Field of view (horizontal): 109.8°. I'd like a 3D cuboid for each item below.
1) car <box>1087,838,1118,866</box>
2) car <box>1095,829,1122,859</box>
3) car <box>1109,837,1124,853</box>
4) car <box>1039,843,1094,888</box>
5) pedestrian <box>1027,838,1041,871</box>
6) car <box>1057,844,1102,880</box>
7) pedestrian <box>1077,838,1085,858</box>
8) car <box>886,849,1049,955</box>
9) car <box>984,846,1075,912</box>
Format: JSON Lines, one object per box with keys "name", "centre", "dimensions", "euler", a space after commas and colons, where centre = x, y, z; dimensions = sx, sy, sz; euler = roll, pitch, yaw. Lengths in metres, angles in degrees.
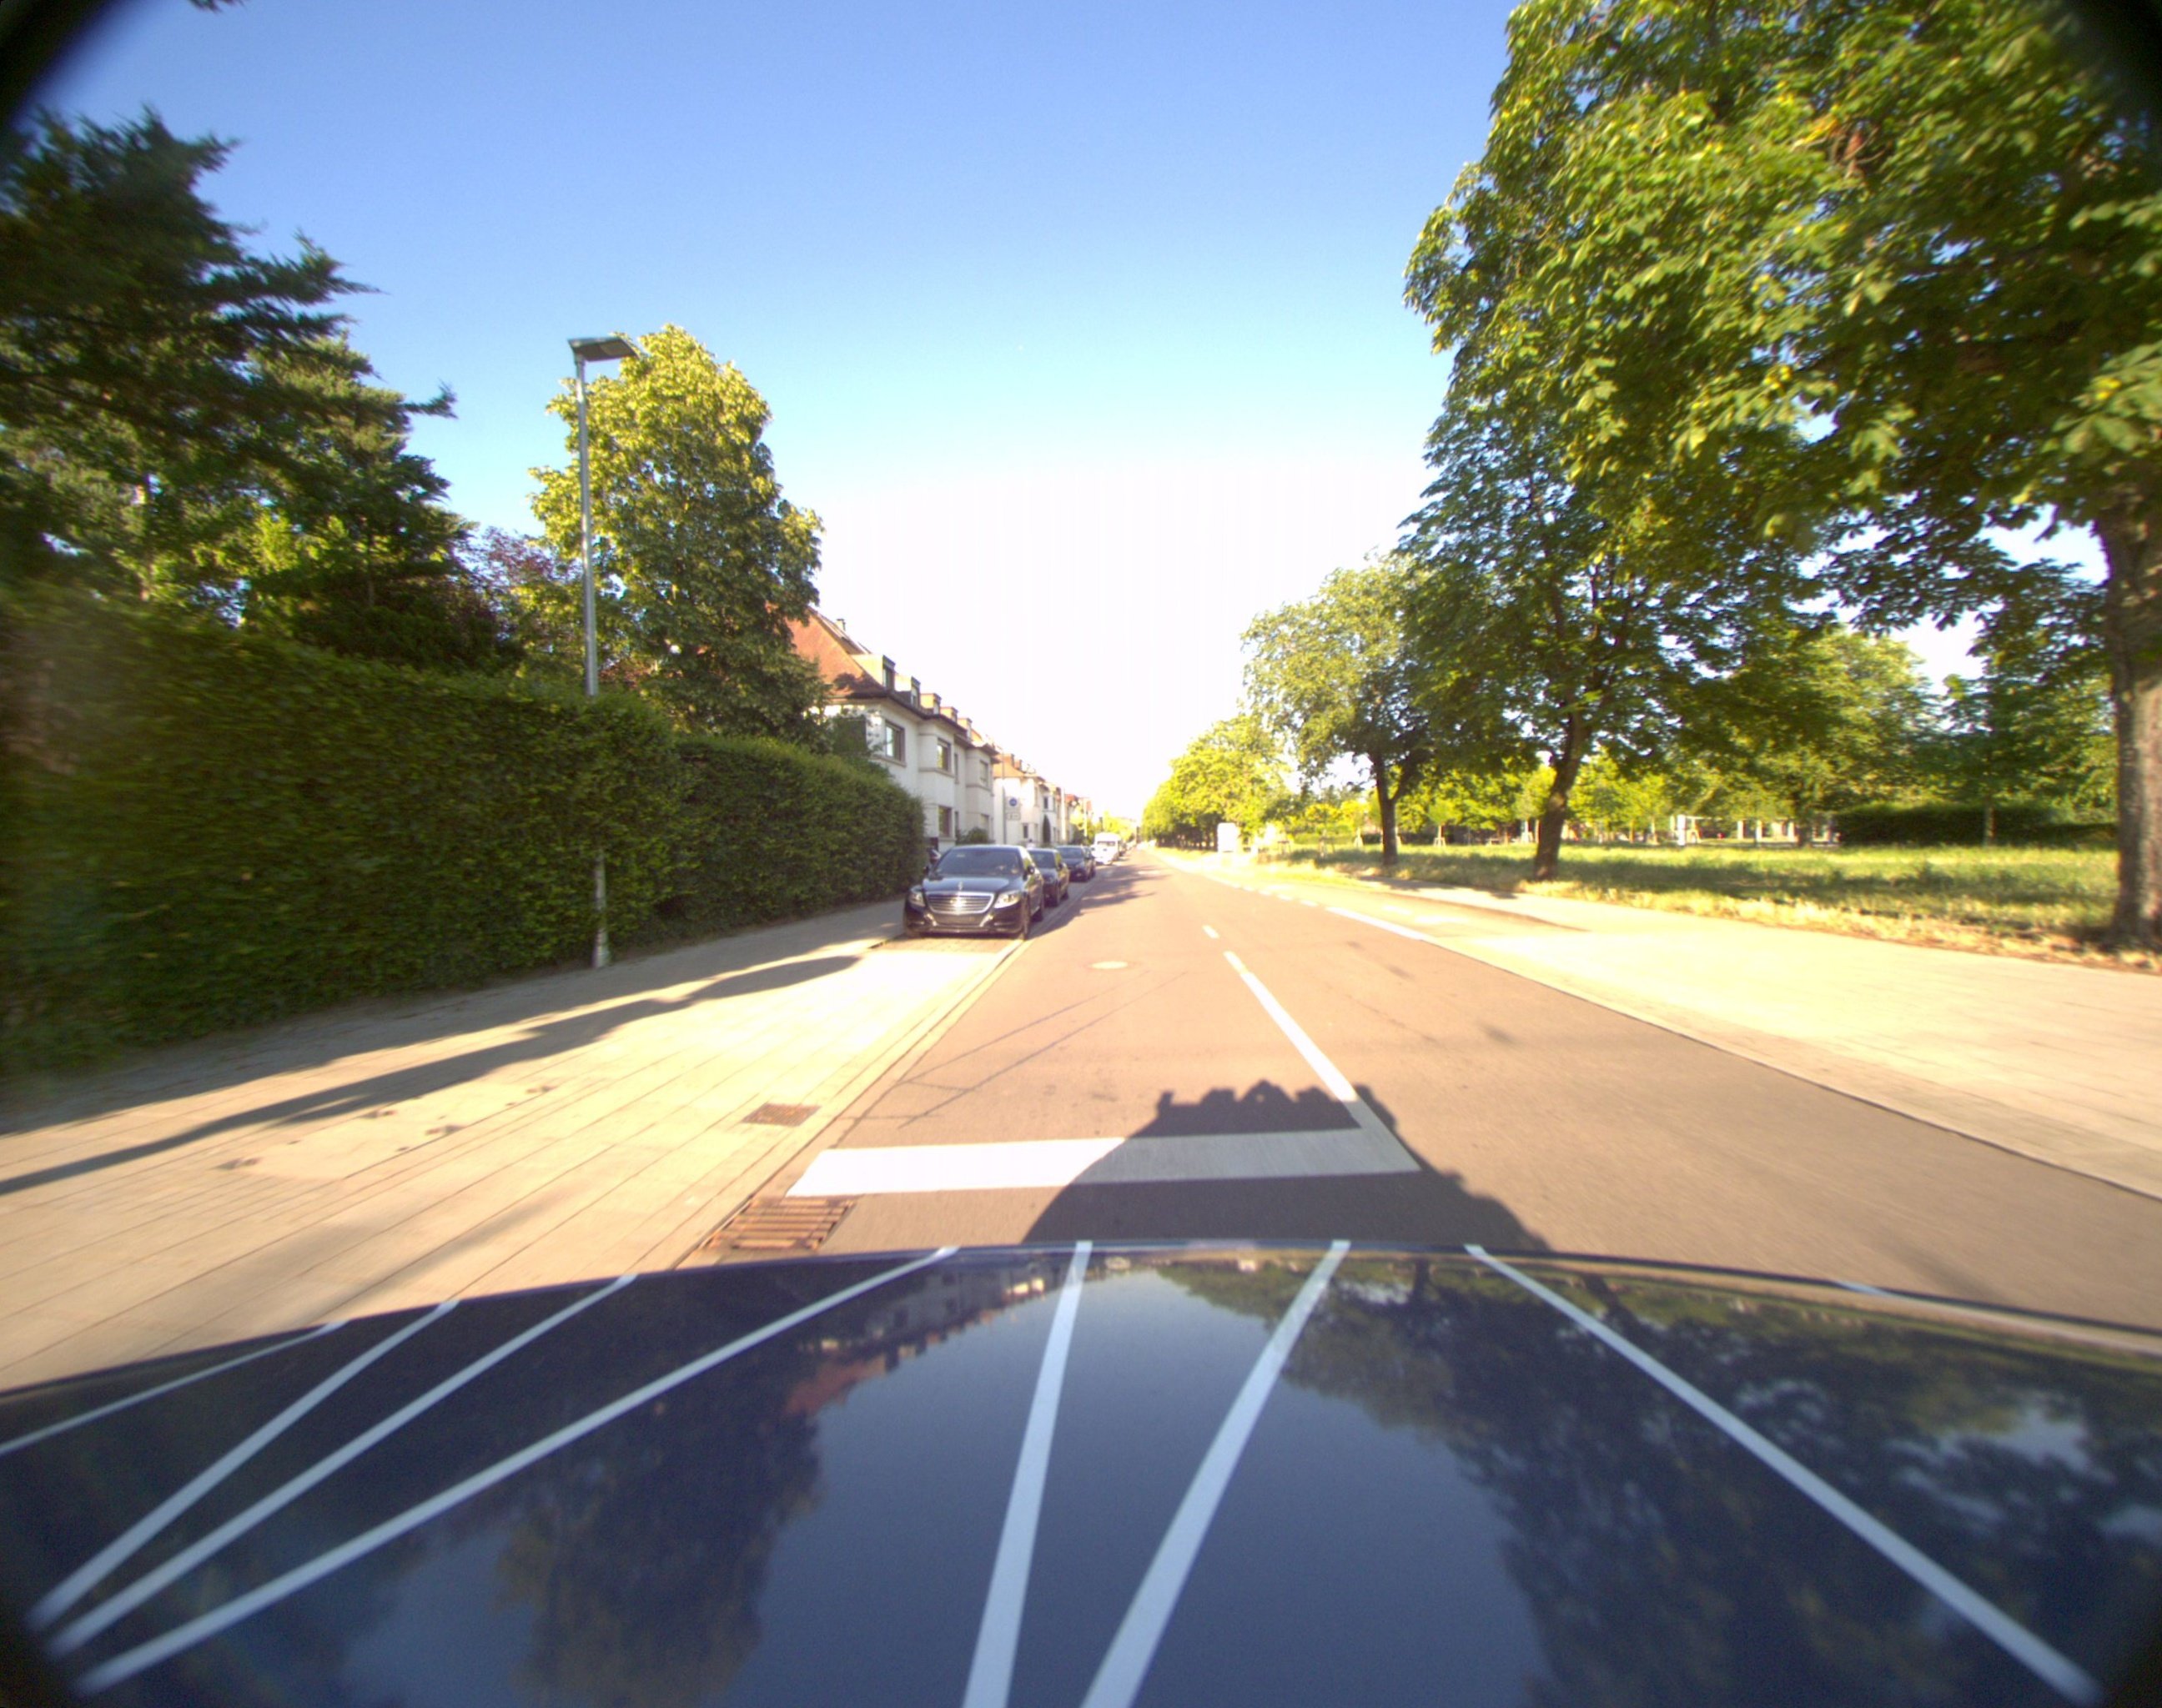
{"name": "car", "centre": [1.606, -0.185, 55.349], "dimensions": [1.998, 1.775, 4.000], "euler": [-3, 2, 4]}
{"name": "car", "centre": [2.541, -0.960, 68.918], "dimensions": [2.131, 2.462, 5.724], "euler": [-3, 2, 4]}
{"name": "car", "centre": [4.638, -1.186, 97.818], "dimensions": [1.707, 1.848, 3.713], "euler": [-3, 2, 5]}
{"name": "car", "centre": [-0.527, 0.409, 30.722], "dimensions": [1.795, 1.587, 4.077], "euler": [-3, 0, 4]}
{"name": "pedestrian", "centre": [-2.671, 0.025, 43.350], "dimensions": [0.587, 1.836, 0.824], "euler": [-3, 2, 6]}
{"name": "car", "centre": [-0.024, 0.337, 35.877], "dimensions": [1.679, 1.525, 3.472], "euler": [-3, 0, 6]}
{"name": "pedestrian", "centre": [0.021, -0.516, 67.457], "dimensions": [0.531, 1.788, 0.589], "euler": [-3, 2, 3]}
{"name": "car", "centre": [-1.758, 0.683, 13.502], "dimensions": [2.008, 1.490, 4.915], "euler": [0, 1, 2]}
{"name": "car", "centre": [-1.241, 0.569, 20.029], "dimensions": [1.783, 1.469, 4.001], "euler": [-3, 1, 4]}
